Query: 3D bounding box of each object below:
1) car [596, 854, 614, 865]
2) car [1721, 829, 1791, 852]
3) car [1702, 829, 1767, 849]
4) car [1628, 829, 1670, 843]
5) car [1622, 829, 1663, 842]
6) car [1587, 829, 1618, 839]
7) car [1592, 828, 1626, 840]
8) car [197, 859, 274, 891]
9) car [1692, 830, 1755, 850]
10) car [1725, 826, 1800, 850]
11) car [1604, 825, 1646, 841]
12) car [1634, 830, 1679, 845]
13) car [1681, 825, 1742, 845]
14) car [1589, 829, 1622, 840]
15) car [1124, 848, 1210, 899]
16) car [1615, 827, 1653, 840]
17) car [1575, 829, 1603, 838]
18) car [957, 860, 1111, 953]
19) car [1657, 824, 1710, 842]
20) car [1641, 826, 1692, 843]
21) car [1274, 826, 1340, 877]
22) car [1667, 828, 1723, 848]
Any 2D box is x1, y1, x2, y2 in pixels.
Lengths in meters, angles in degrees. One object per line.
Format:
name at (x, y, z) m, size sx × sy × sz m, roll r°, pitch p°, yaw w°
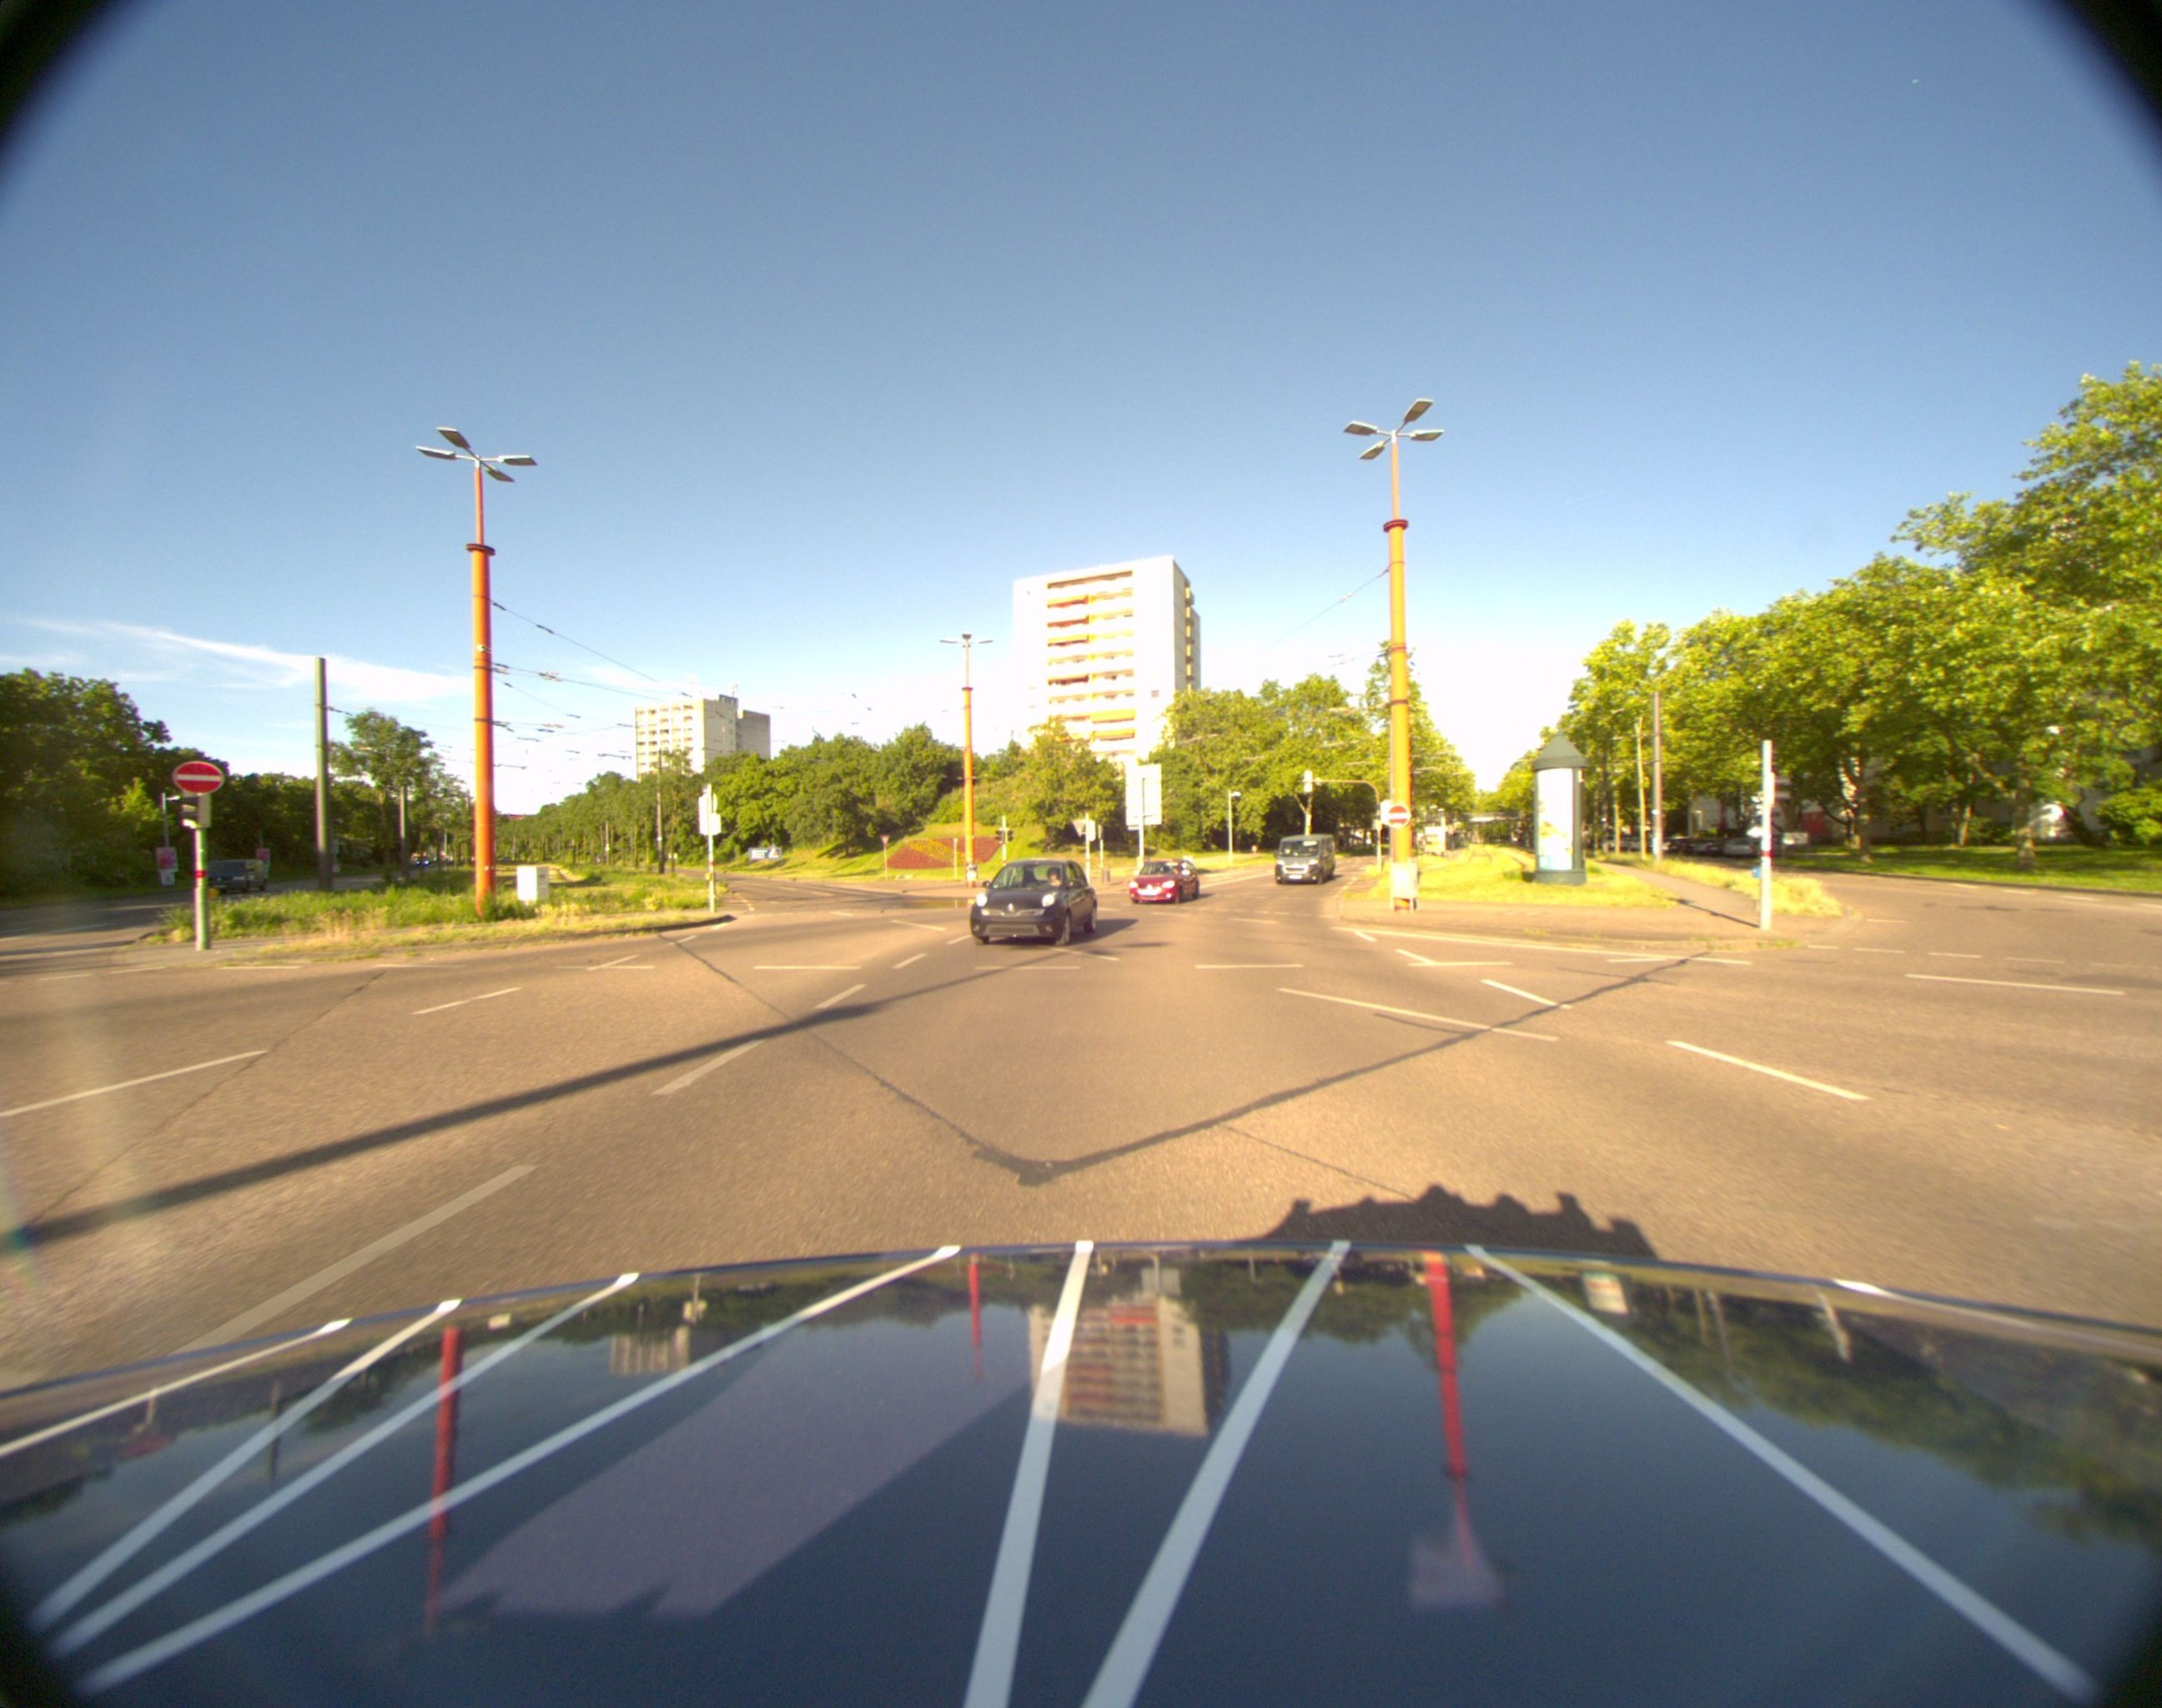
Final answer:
car at (-80.808, 0.976, 128.946) m, size 2.003 × 1.694 × 4.680 m, roll -3°, pitch 1°, yaw -37°
car at (48.488, -0.988, 54.624) m, size 4.051 × 1.478 × 1.762 m, roll -2°, pitch 0°, yaw -14°
car at (49.391, -1.124, 57.421) m, size 4.051 × 1.380 × 1.675 m, roll -2°, pitch 0°, yaw -14°
car at (66.284, -2.100, 88.681) m, size 4.051 × 1.490 × 1.793 m, roll -2°, pitch 0°, yaw -15°
car at (67.408, -2.218, 91.196) m, size 4.051 × 1.490 × 1.793 m, roll -2°, pitch 0°, yaw -15°
car at (82.016, -3.149, 119.425) m, size 4.051 × 1.490 × 1.793 m, roll -2°, pitch 0°, yaw -15°
car at (76.900, -2.885, 110.679) m, size 4.051 × 1.490 × 1.793 m, roll -2°, pitch 0°, yaw -15°
car at (-49.881, 1.205, 44.955) m, size 2.003 × 1.722 × 4.806 m, roll -2°, pitch 1°, yaw -35°
car at (51.107, -1.116, 60.479) m, size 4.051 × 1.380 × 1.793 m, roll -2°, pitch 0°, yaw -14°
car at (46.238, -1.095, 51.573) m, size 4.051 × 1.478 × 1.813 m, roll -2°, pitch 0°, yaw -14°
car at (71.365, -2.773, 99.683) m, size 4.434 × 1.908 × 2.019 m, roll -2°, pitch 0°, yaw -15°
car at (62.624, -1.803, 82.657) m, size 4.051 × 1.490 × 1.793 m, roll -2°, pitch 0°, yaw -15°
car at (52.476, -1.584, 63.259) m, size 4.050 × 1.490 × 1.794 m, roll -2°, pitch 0°, yaw -12°
car at (78.443, -2.964, 113.689) m, size 4.051 × 1.490 × 1.793 m, roll -2°, pitch 0°, yaw -15°
car at (3.072, 0.606, 26.168) m, size 1.769 × 1.549 × 4.733 m, roll -1°, pitch 1°, yaw 21°
car at (70.490, -2.618, 96.902) m, size 4.051 × 1.490 × 1.793 m, roll -2°, pitch 0°, yaw -15°
car at (86.250, -3.484, 129.037) m, size 4.051 × 1.490 × 1.793 m, roll -2°, pitch 0°, yaw -15°
car at (-0.688, 0.905, 14.494) m, size 1.738 × 1.473 × 4.627 m, roll -1°, pitch -1°, yaw 12°
car at (57.584, -2.026, 72.582) m, size 4.050 × 1.490 × 1.794 m, roll -2°, pitch 0°, yaw -12°
car at (58.806, -1.932, 76.314) m, size 4.050 × 1.490 × 1.794 m, roll -2°, pitch 0°, yaw -12°
car at (10.819, -0.190, 36.072) m, size 2.036 × 2.192 × 5.670 m, roll -1°, pitch 1°, yaw 27°
car at (56.096, -1.465, 69.416) m, size 4.050 × 1.654 × 1.794 m, roll -2°, pitch 0°, yaw -12°
